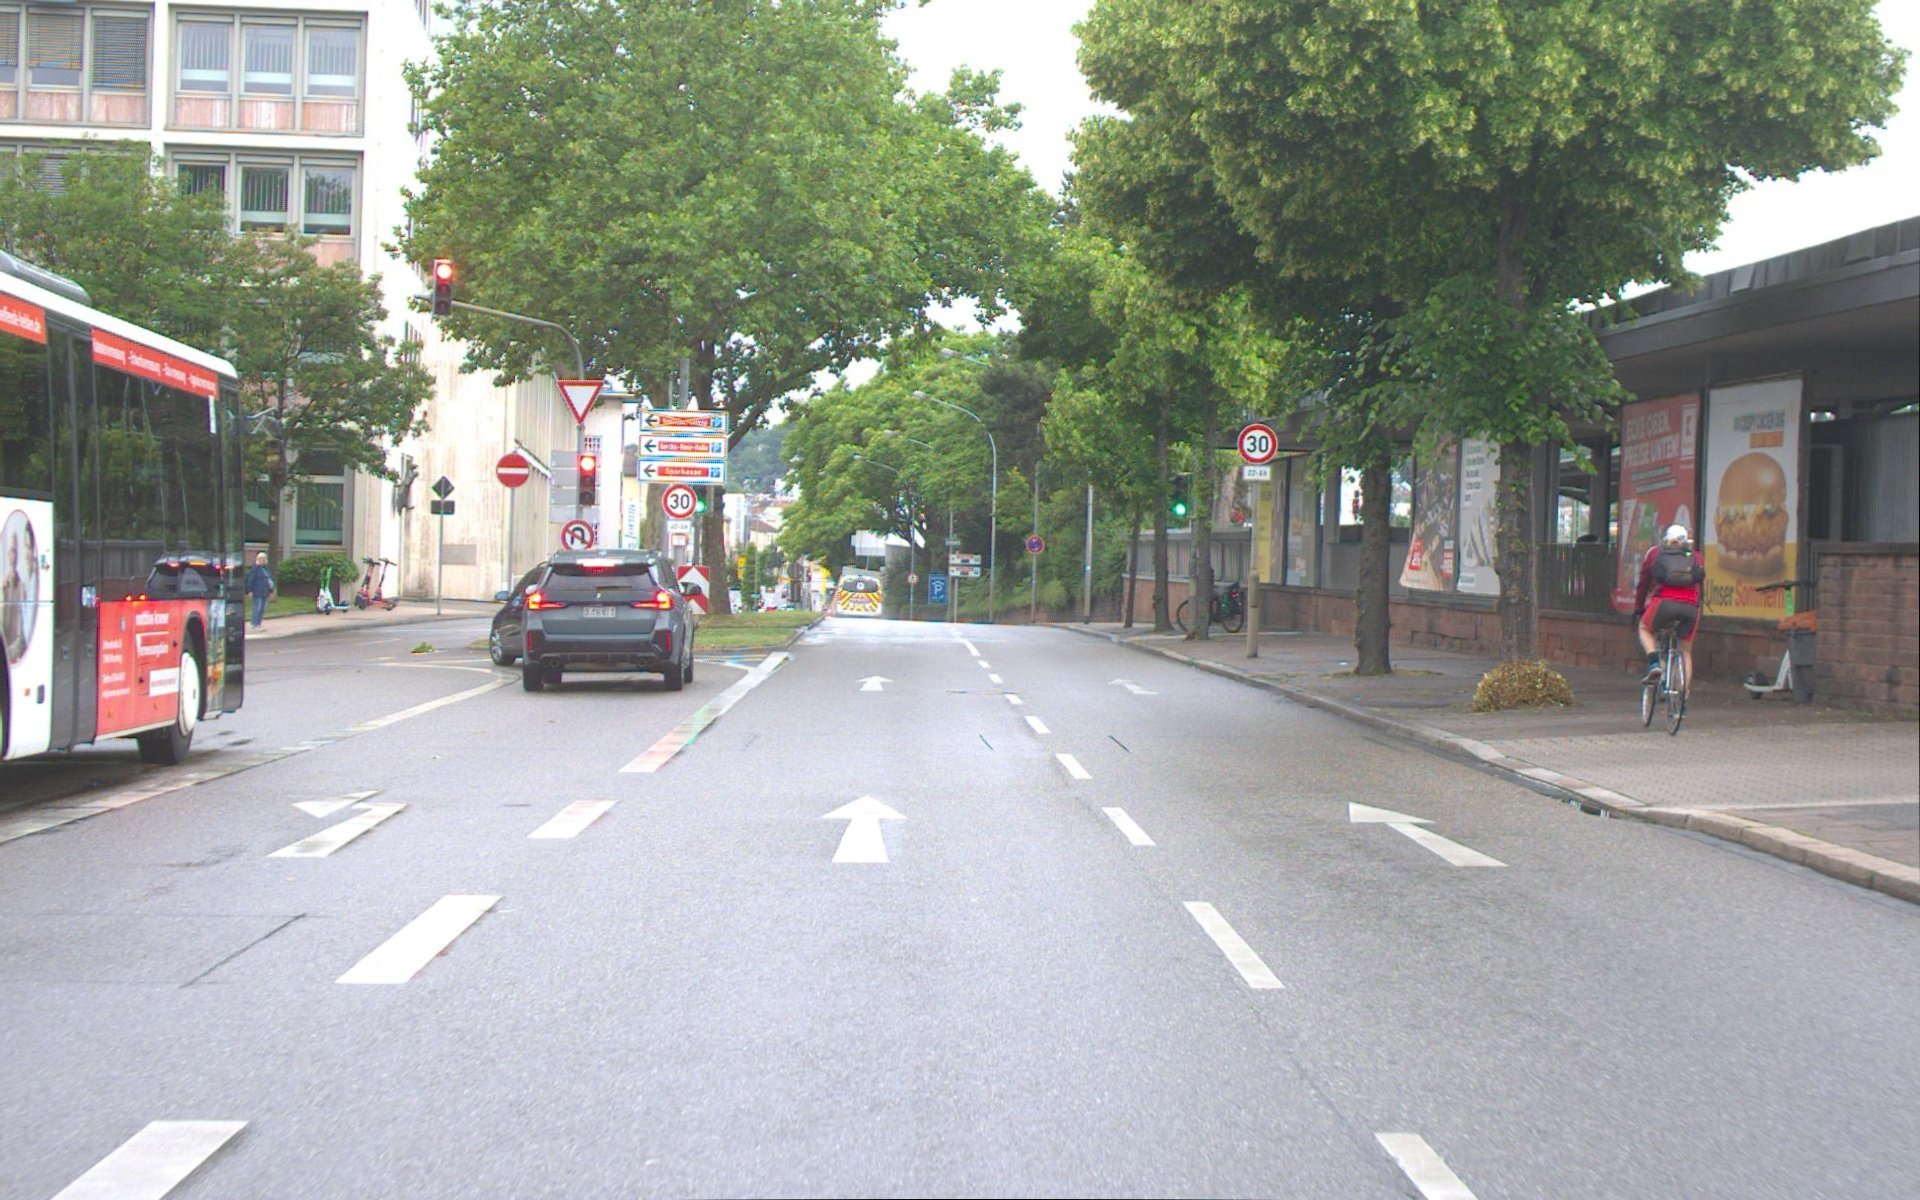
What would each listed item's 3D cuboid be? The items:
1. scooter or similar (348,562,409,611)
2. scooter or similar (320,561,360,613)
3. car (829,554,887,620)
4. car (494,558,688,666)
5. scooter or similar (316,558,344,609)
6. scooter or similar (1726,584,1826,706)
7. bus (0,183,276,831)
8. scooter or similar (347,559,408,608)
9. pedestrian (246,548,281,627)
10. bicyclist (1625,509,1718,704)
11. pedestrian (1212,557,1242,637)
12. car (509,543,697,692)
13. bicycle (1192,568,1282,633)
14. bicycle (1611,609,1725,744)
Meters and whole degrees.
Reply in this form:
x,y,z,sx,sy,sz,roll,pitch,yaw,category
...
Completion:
x,y,z,sx,sy,sz,roll,pitch,yaw,category
-14.183,-0.328,83.842,0.608,1.188,1.525,1,1,32,scooter or similar
-14.404,-0.309,79.901,0.570,1.188,1.574,1,0,2,scooter or similar
-4.206,-0.545,141.707,2.264,2.647,4.001,0,1,-3,car
-5.144,0.137,47.427,1.815,1.404,4.415,0,1,-18,car
-14.351,-0.379,78.286,0.488,1.163,1.502,1,0,-5,scooter or similar
7.900,0.425,33.315,0.492,1.149,1.545,1,0,-4,scooter or similar
-6.711,-0.547,21.423,2.955,3.428,12.561,1,1,-3,bus
-14.421,-0.415,85.153,0.608,1.188,1.525,1,1,32,scooter or similar
-14.223,-0.258,70.203,0.653,1.597,0.925,0,0,-13,pedestrian
5.701,0.046,27.568,0.533,1.533,0.694,-1,0,-4,bicyclist
5.214,-0.060,67.105,0.457,1.563,0.392,1,1,31,pedestrian
-4.117,0.174,40.247,1.964,1.634,4.359,0,0,-3,car
5.433,0.009,67.489,1.723,1.244,0.485,1,1,30,bicycle
5.674,0.599,27.622,0.446,1.013,1.678,-2,1,-4,bicycle
